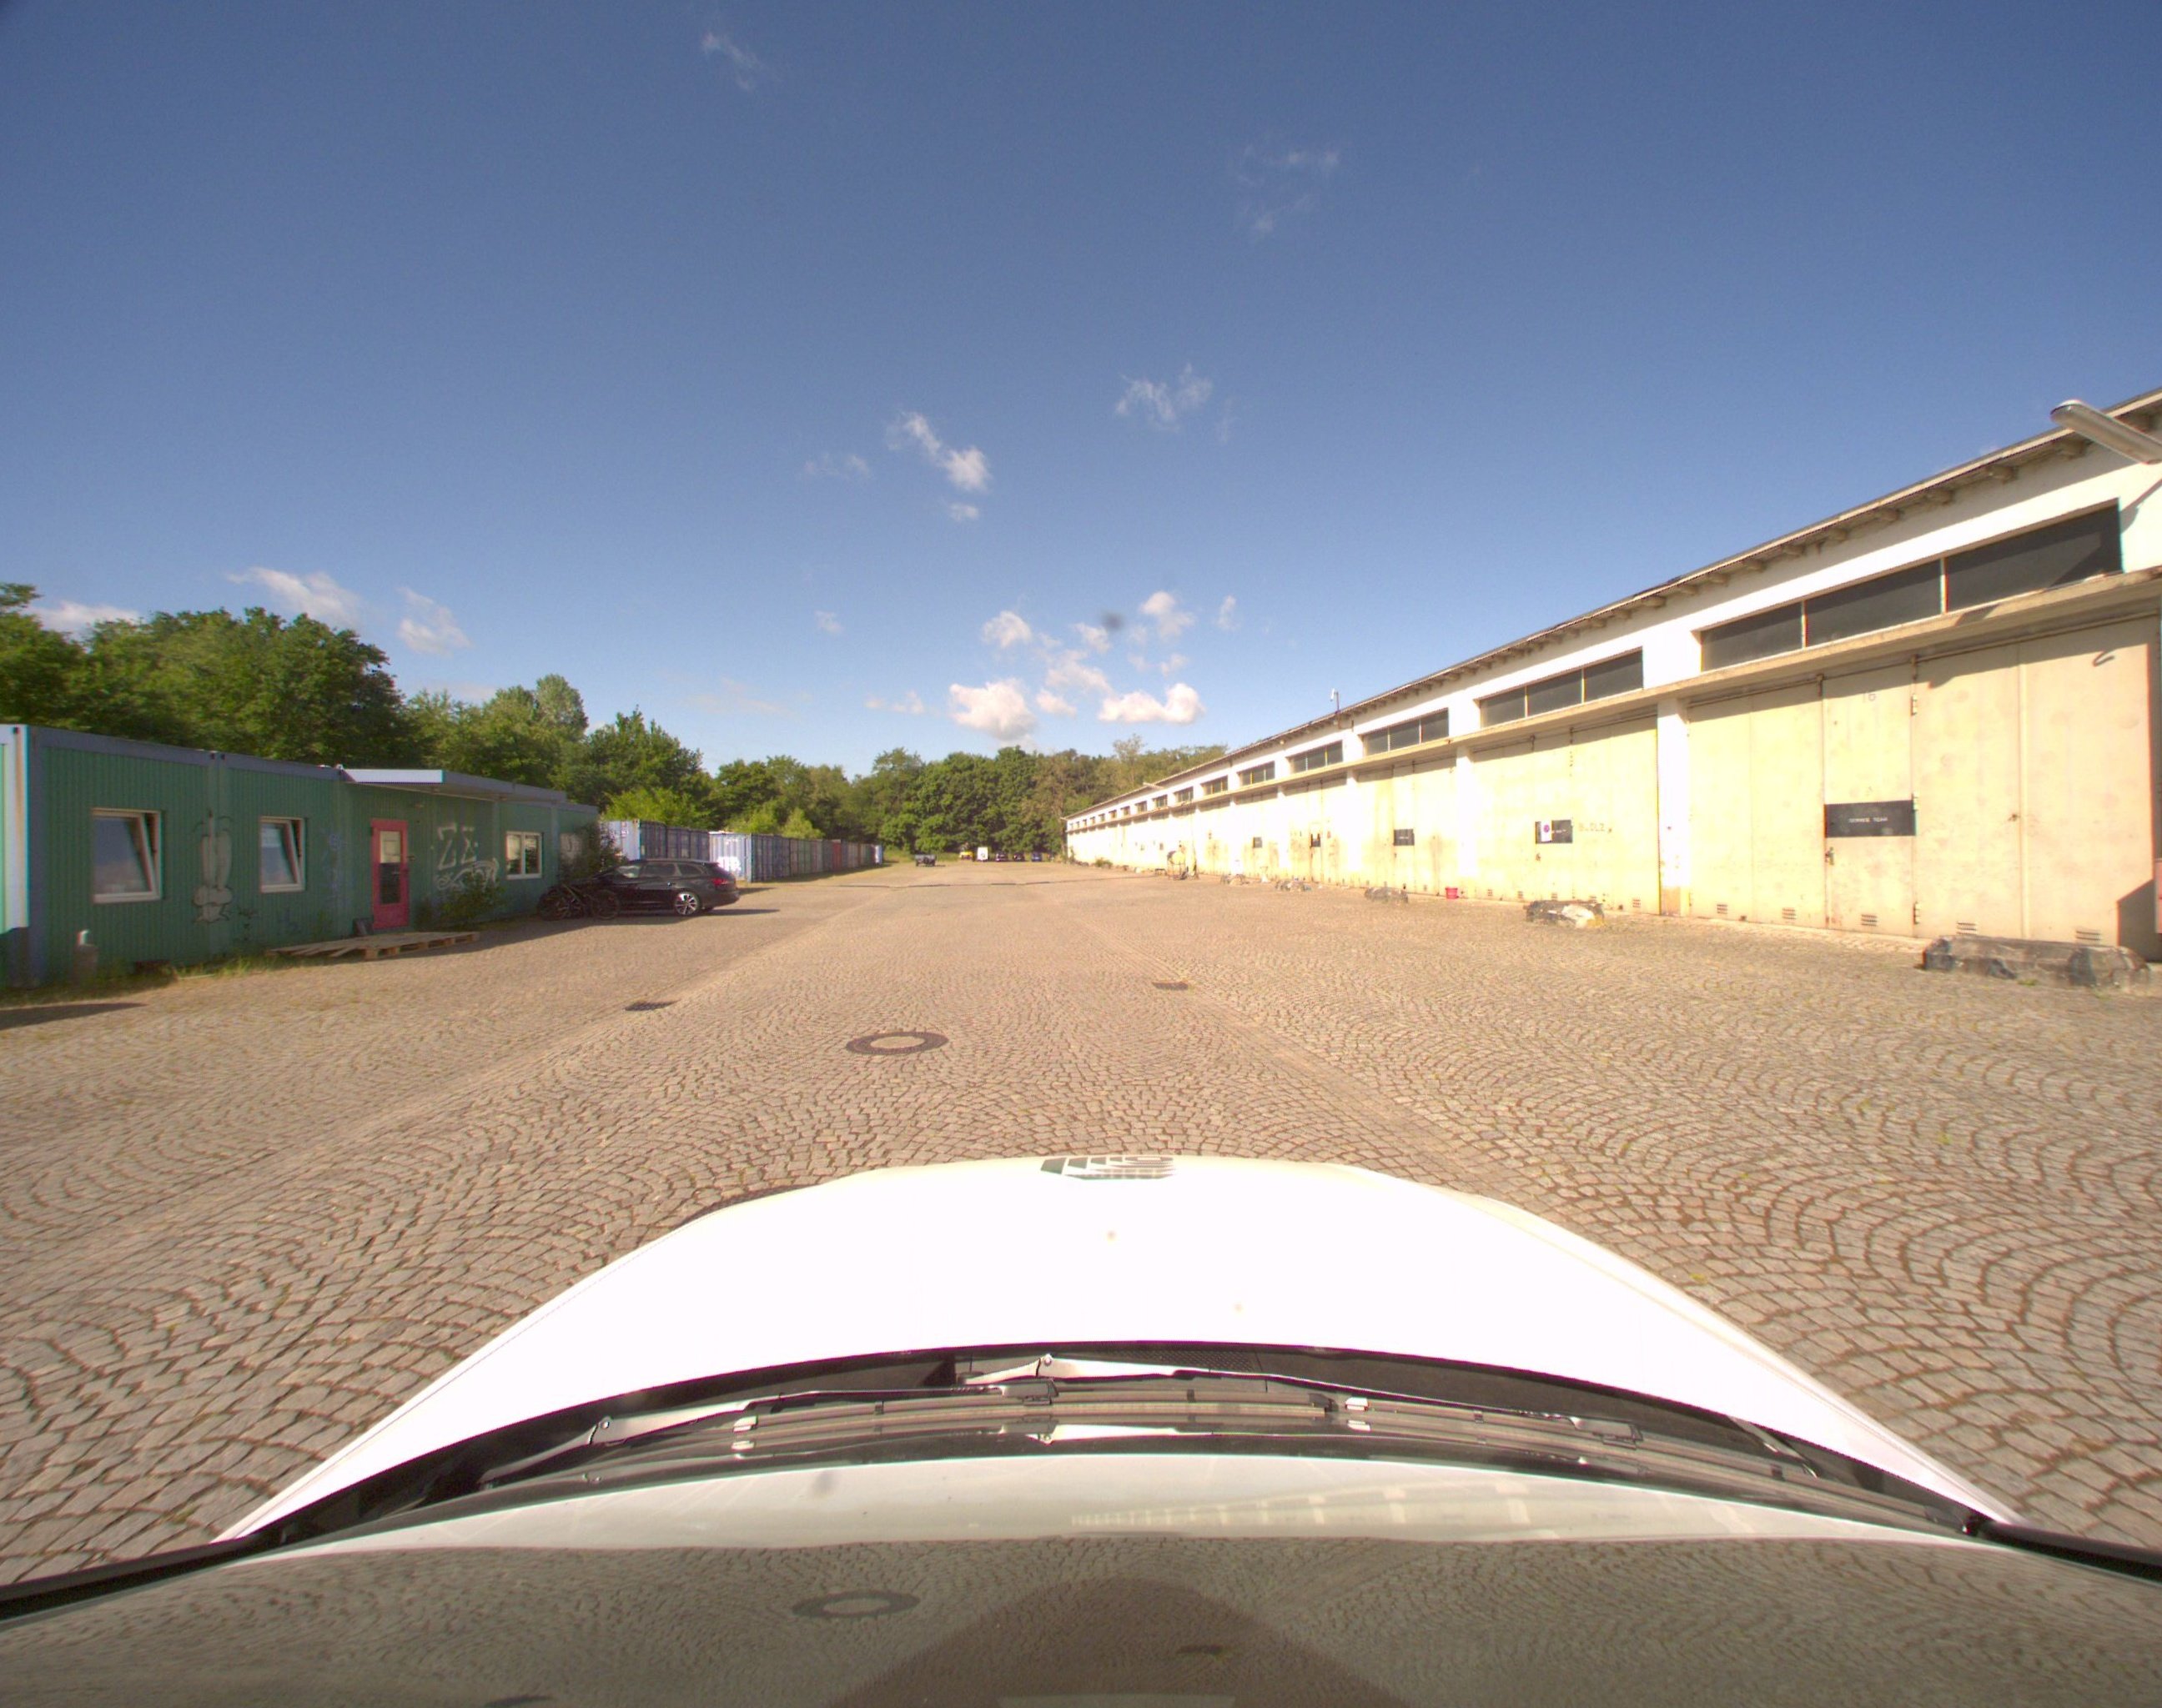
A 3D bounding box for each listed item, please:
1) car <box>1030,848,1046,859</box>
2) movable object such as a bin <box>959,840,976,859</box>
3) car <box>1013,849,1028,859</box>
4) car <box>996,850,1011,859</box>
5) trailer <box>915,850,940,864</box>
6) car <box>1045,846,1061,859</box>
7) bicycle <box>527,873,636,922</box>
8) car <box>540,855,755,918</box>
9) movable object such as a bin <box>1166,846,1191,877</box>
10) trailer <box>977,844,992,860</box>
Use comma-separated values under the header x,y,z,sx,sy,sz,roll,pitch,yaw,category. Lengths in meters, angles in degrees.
x,y,z,sx,sy,sz,roll,pitch,yaw,category
-6.377,-0.061,119.924,1.992,1.466,3.989,-1,0,-8,car
-16.746,-0.628,120.073,2.232,2.657,3.986,-1,0,-10,movable object such as a bin
-8.941,0.038,119.566,1.992,1.424,3.989,-1,0,-8,car
-11.393,0.123,118.837,1.992,1.258,3.989,-1,0,-8,car
-18.885,0.385,100.306,2.790,1.646,5.604,-1,0,-8,trailer
-4.203,-0.240,121.491,1.992,1.772,3.989,-1,0,-8,car
-11.590,0.991,18.968,1.875,1.027,1.035,-1,0,-11,bicycle
-10.843,0.772,20.740,4.416,1.464,1.992,0,0,-11,car
4.453,0.347,37.302,0.874,1.401,1.098,-1,0,-9,movable object such as a bin
-14.203,-0.295,119.676,1.992,2.162,4.419,-1,0,-8,trailer
